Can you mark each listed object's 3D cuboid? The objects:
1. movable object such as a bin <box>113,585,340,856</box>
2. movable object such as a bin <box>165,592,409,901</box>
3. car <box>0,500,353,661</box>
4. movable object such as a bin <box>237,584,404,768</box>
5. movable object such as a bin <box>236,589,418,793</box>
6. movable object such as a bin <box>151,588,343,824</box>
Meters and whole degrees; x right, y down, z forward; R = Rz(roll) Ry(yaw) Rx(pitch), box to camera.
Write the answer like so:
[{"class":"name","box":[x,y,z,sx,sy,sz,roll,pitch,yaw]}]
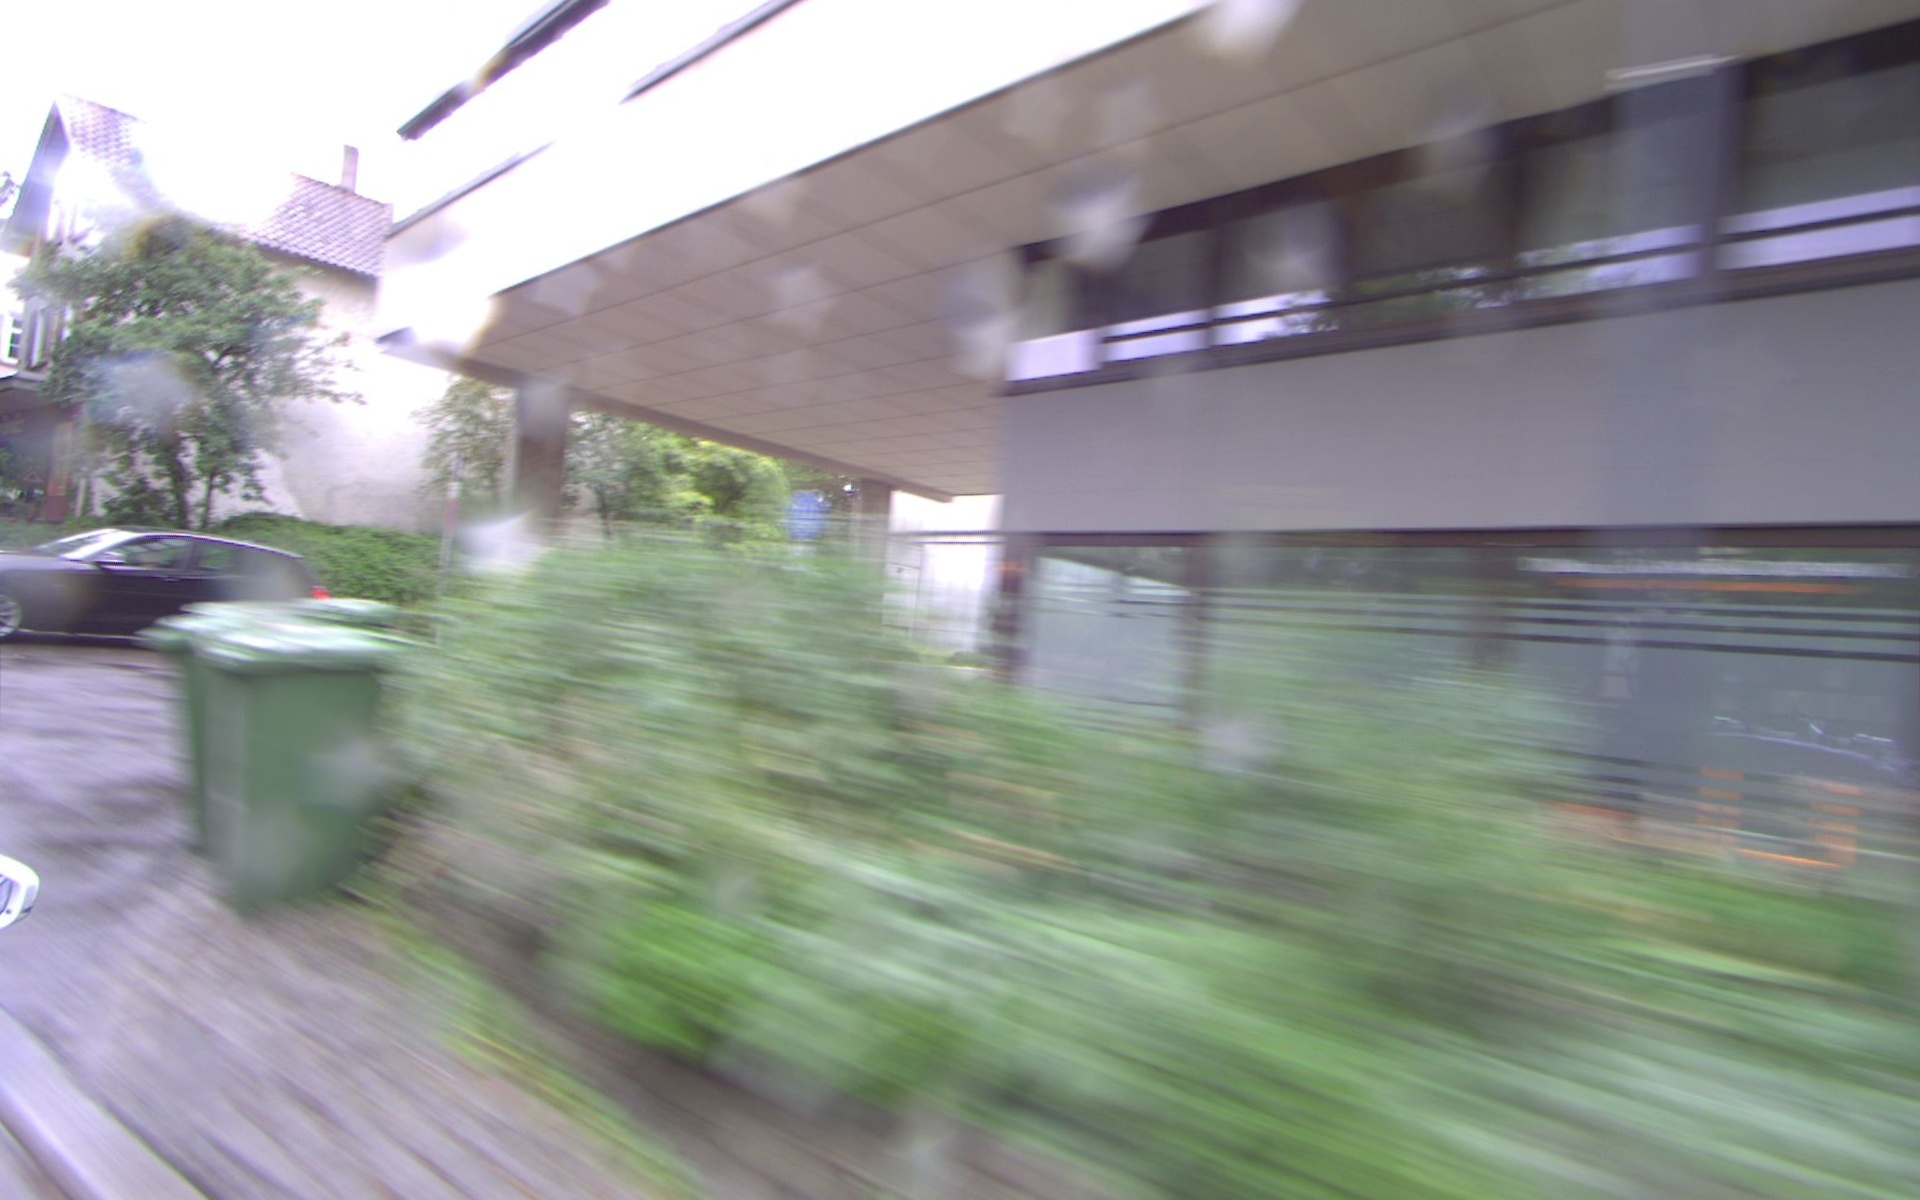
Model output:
[{"class":"movable object such as a bin","box":[-3.311,0.532,4.607,0.698,1.121,0.567,6,-1,-31]},{"class":"movable object such as a bin","box":[-2.807,0.577,4.201,0.701,1.138,0.565,6,-1,-42]},{"class":"car","box":[-9.949,-0.240,11.899,1.810,1.432,4.293,7,-3,32]},{"class":"movable object such as a bin","box":[-4.198,0.491,6.651,0.694,1.116,0.570,6,0,-14]},{"class":"movable object such as a bin","box":[-3.773,0.531,6.048,0.694,1.116,0.570,6,0,-14]},{"class":"movable object such as a bin","box":[-3.687,0.541,5.261,0.698,1.124,0.567,6,-1,-32]}]
